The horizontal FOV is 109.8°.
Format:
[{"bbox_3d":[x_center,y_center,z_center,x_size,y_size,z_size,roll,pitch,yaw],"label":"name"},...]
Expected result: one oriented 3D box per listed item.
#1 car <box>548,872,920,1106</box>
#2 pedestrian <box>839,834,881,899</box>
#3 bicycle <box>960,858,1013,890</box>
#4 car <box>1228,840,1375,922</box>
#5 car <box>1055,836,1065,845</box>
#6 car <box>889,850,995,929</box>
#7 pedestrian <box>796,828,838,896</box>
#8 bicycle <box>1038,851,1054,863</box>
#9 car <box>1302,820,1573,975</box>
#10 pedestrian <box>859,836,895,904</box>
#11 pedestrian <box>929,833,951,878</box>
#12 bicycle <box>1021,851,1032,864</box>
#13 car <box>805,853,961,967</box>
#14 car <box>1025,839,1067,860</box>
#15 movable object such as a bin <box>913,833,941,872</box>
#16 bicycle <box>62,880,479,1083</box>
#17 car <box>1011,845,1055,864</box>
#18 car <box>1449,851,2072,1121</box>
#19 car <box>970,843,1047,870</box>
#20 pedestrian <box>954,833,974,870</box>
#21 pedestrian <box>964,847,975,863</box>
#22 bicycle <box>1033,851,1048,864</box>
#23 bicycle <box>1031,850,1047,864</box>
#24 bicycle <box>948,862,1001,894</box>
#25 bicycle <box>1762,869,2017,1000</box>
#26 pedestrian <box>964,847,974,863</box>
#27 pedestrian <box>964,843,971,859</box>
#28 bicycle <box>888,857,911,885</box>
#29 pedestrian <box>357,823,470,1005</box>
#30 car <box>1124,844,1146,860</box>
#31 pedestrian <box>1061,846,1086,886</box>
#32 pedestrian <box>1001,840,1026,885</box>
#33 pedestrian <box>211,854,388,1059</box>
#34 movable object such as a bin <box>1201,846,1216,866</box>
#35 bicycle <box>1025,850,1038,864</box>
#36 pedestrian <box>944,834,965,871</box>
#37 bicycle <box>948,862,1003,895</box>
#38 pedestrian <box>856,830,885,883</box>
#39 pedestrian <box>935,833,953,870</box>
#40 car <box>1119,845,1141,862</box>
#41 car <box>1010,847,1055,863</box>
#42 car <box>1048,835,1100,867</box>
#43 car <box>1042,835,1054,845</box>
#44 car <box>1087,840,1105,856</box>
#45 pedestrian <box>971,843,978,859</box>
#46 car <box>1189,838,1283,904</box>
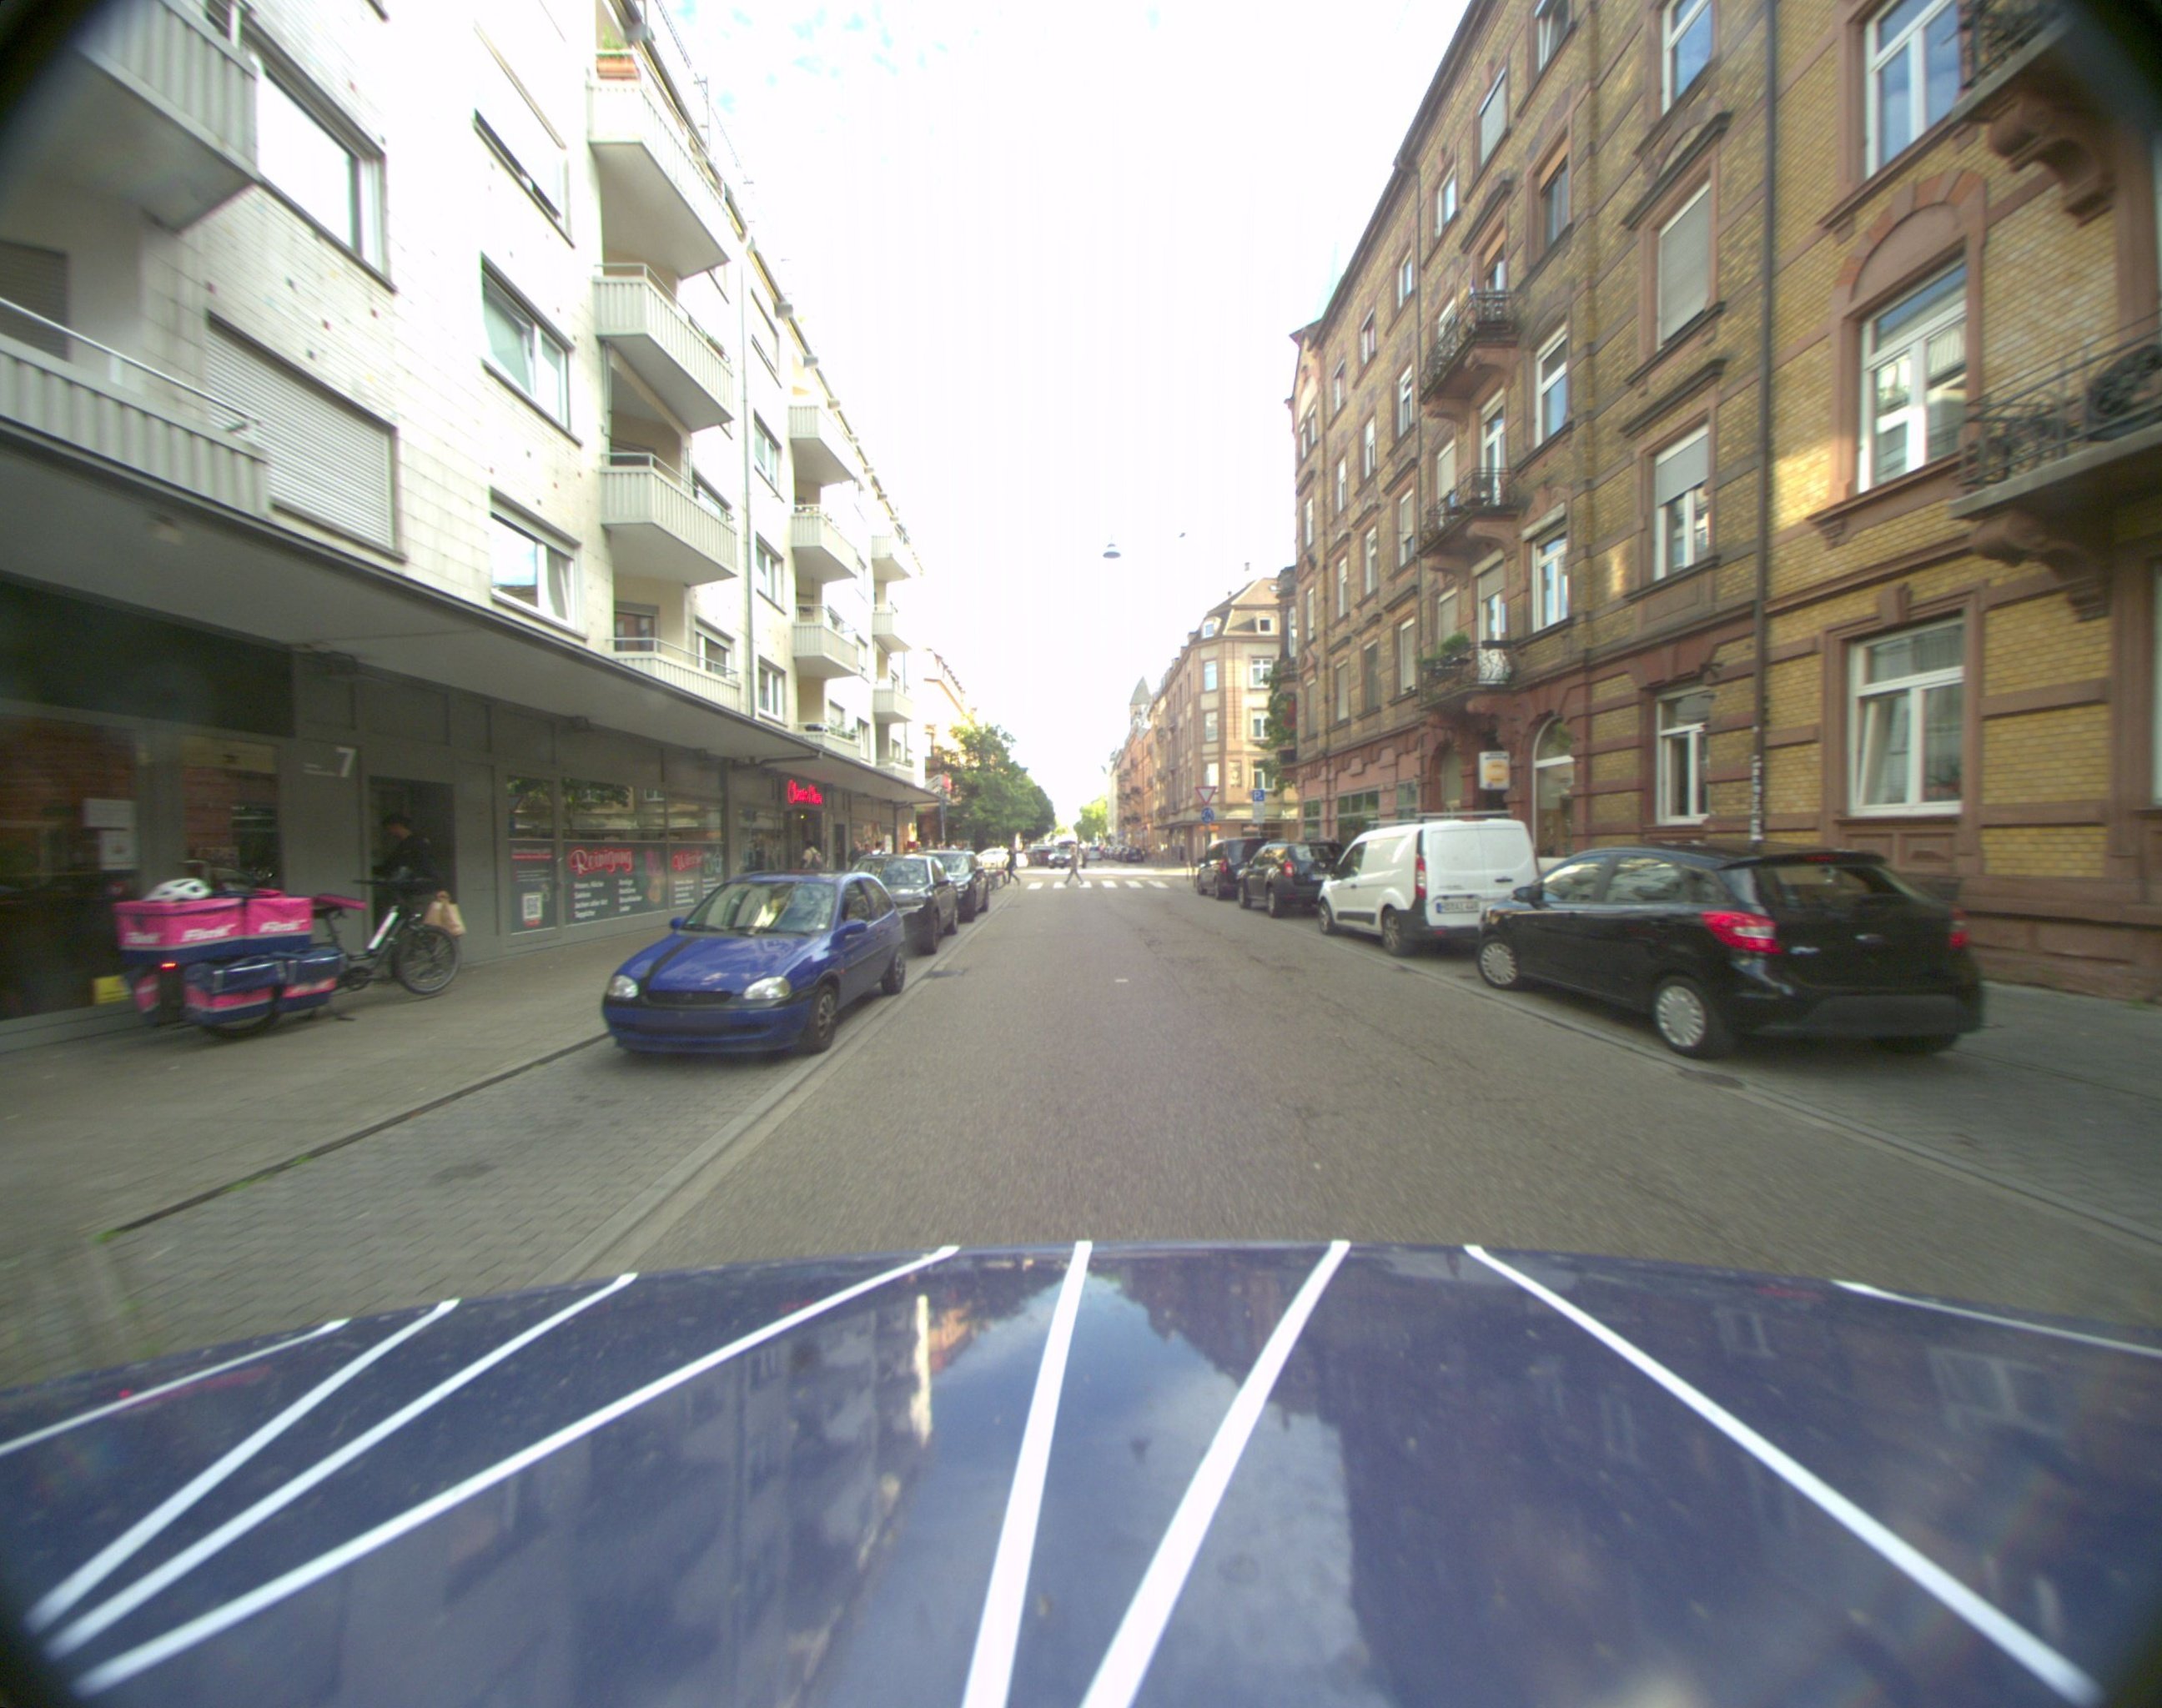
[{"bbox_3d":[-2.751,0.958,7.114,1.599,1.431,4.029,0,1,0],"label":"car"},{"bbox_3d":[-6.106,0.339,21.067,0.851,1.737,1.048,1,1,-3],"label":"pedestrian"},{"bbox_3d":[-3.572,0.748,28.747,1.888,1.119,0.907,2,1,-3],"label":"bicycle"},{"bbox_3d":[4.881,0.552,17.471,1.999,1.628,4.144,-1,0,-2],"label":"car"},{"bbox_3d":[-4.888,-3.047,174.467,1.998,1.877,4.000,-2,1,1],"label":"car"},{"bbox_3d":[-3.100,0.723,17.715,1.797,1.596,3.923,0,1,-1],"label":"car"},{"bbox_3d":[-6.964,0.197,20.065,0.816,1.737,0.716,2,1,1],"label":"pedestrian"},{"bbox_3d":[-2.962,0.277,63.814,0.473,0.979,1.860,0,1,-32],"label":"bicycle"},{"bbox_3d":[5.016,0.508,11.519,1.925,1.861,4.436,-1,1,-1],"label":"car"},{"bbox_3d":[-5.336,0.410,19.929,0.613,1.716,1.126,-2,1,-2],"label":"pedestrian"},{"bbox_3d":[-5.656,0.055,30.519,0.765,1.743,0.930,-1,1,-4],"label":"pedestrian"},{"bbox_3d":[-4.520,0.277,62.774,0.434,1.094,1.672,1,1,-21],"label":"bicycle"},{"bbox_3d":[-3.081,0.783,12.619,1.693,1.568,3.901,0,1,-2],"label":"car"},{"bbox_3d":[-4.375,-0.600,94.681,4.746,2.409,1.995,-3,1,-33],"label":"car"},{"bbox_3d":[-7.074,-0.100,35.090,0.781,1.734,2.422,-1,1,0],"label":"movable object such as a bin"},{"bbox_3d":[-6.625,0.933,6.537,0.921,1.283,2.498,1,1,0],"label":"bicycle"},{"bbox_3d":[-4.321,0.068,68.321,3.592,1.606,1.510,1,1,-24],"label":"car"},{"bbox_3d":[4.990,0.776,6.479,1.746,1.475,3.982,-2,1,0],"label":"car"},{"bbox_3d":[-4.849,0.153,50.789,4.839,1.588,1.942,-2,1,-17],"label":"car"},{"bbox_3d":[-5.874,-0.121,38.201,0.716,1.786,0.630,2,0,-36],"label":"pedestrian"},{"bbox_3d":[-8.936,0.076,60.960,0.729,1.307,0.520,-2,1,-13],"label":"pedestrian"},{"bbox_3d":[-3.390,0.295,63.543,0.419,0.979,1.834,0,1,-32],"label":"bicycle"},{"bbox_3d":[-3.530,0.224,63.104,0.476,1.136,1.834,0,1,-32],"label":"bicycle"},{"bbox_3d":[-3.688,0.823,26.331,1.794,1.064,0.568,1,0,-11],"label":"bicycle"},{"bbox_3d":[8.565,0.784,8.202,0.569,1.144,2.000,-3,1,-1],"label":"bicycle"},{"bbox_3d":[-9.045,0.076,61.464,0.729,1.307,0.520,-2,1,-13],"label":"pedestrian"},{"bbox_3d":[-9.642,-0.252,64.573,0.467,1.320,0.620,-1,2,-25],"label":"pedestrian"},{"bbox_3d":[-7.285,0.668,30.390,0.679,1.037,1.730,-1,2,-20],"label":"bicycle"},{"bbox_3d":[-7.178,0.609,8.181,0.708,1.849,0.646,0,2,28],"label":"pedestrian"},{"bbox_3d":[5.073,-0.210,71.981,1.723,1.360,3.829,-2,1,0],"label":"car"},{"bbox_3d":[-0.305,0.488,30.572,0.810,1.569,0.614,-1,0,-18],"label":"pedestrian"},{"bbox_3d":[-2.834,0.357,32.030,0.856,1.830,0.678,-1,3,6],"label":"pedestrian"},{"bbox_3d":[-6.453,0.802,6.318,0.645,1.579,0.780,1,1,1],"label":"pedestrian"},{"bbox_3d":[4.544,0.075,27.147,0.384,0.710,0.475,-2,1,-5],"label":"movable object such as a bin"},{"bbox_3d":[-4.077,0.258,63.003,0.476,1.095,1.671,1,1,-25],"label":"bicycle"},{"bbox_3d":[-6.273,-0.072,37.576,0.712,1.786,0.634,2,0,32],"label":"pedestrian"},{"bbox_3d":[-3.579,0.830,25.699,1.794,1.064,0.586,1,0,-11],"label":"bicycle"},{"bbox_3d":[-6.551,0.077,23.675,0.724,1.623,0.712,1,1,-3],"label":"pedestrian"},{"bbox_3d":[-6.877,-0.122,38.150,0.654,1.786,0.659,2,0,12],"label":"pedestrian"},{"bbox_3d":[4.911,-0.093,77.111,1.861,1.575,4.397,-2,1,0],"label":"car"},{"bbox_3d":[-4.182,0.084,65.957,3.593,1.372,1.510,1,1,-26],"label":"car"},{"bbox_3d":[-0.447,-0.234,51.705,1.789,2.051,4.007,0,2,29],"label":"car"},{"bbox_3d":[-6.038,-2.517,139.189,1.850,1.724,3.997,-2,1,-6],"label":"car"},{"bbox_3d":[1.720,-0.659,88.331,1.834,1.780,4.330,-3,0,-2],"label":"car"},{"bbox_3d":[-9.026,-0.275,64.330,0.467,1.320,0.620,-1,2,-25],"label":"pedestrian"},{"bbox_3d":[4.678,0.444,23.587,1.765,1.763,4.404,-3,1,-2],"label":"car"}]
